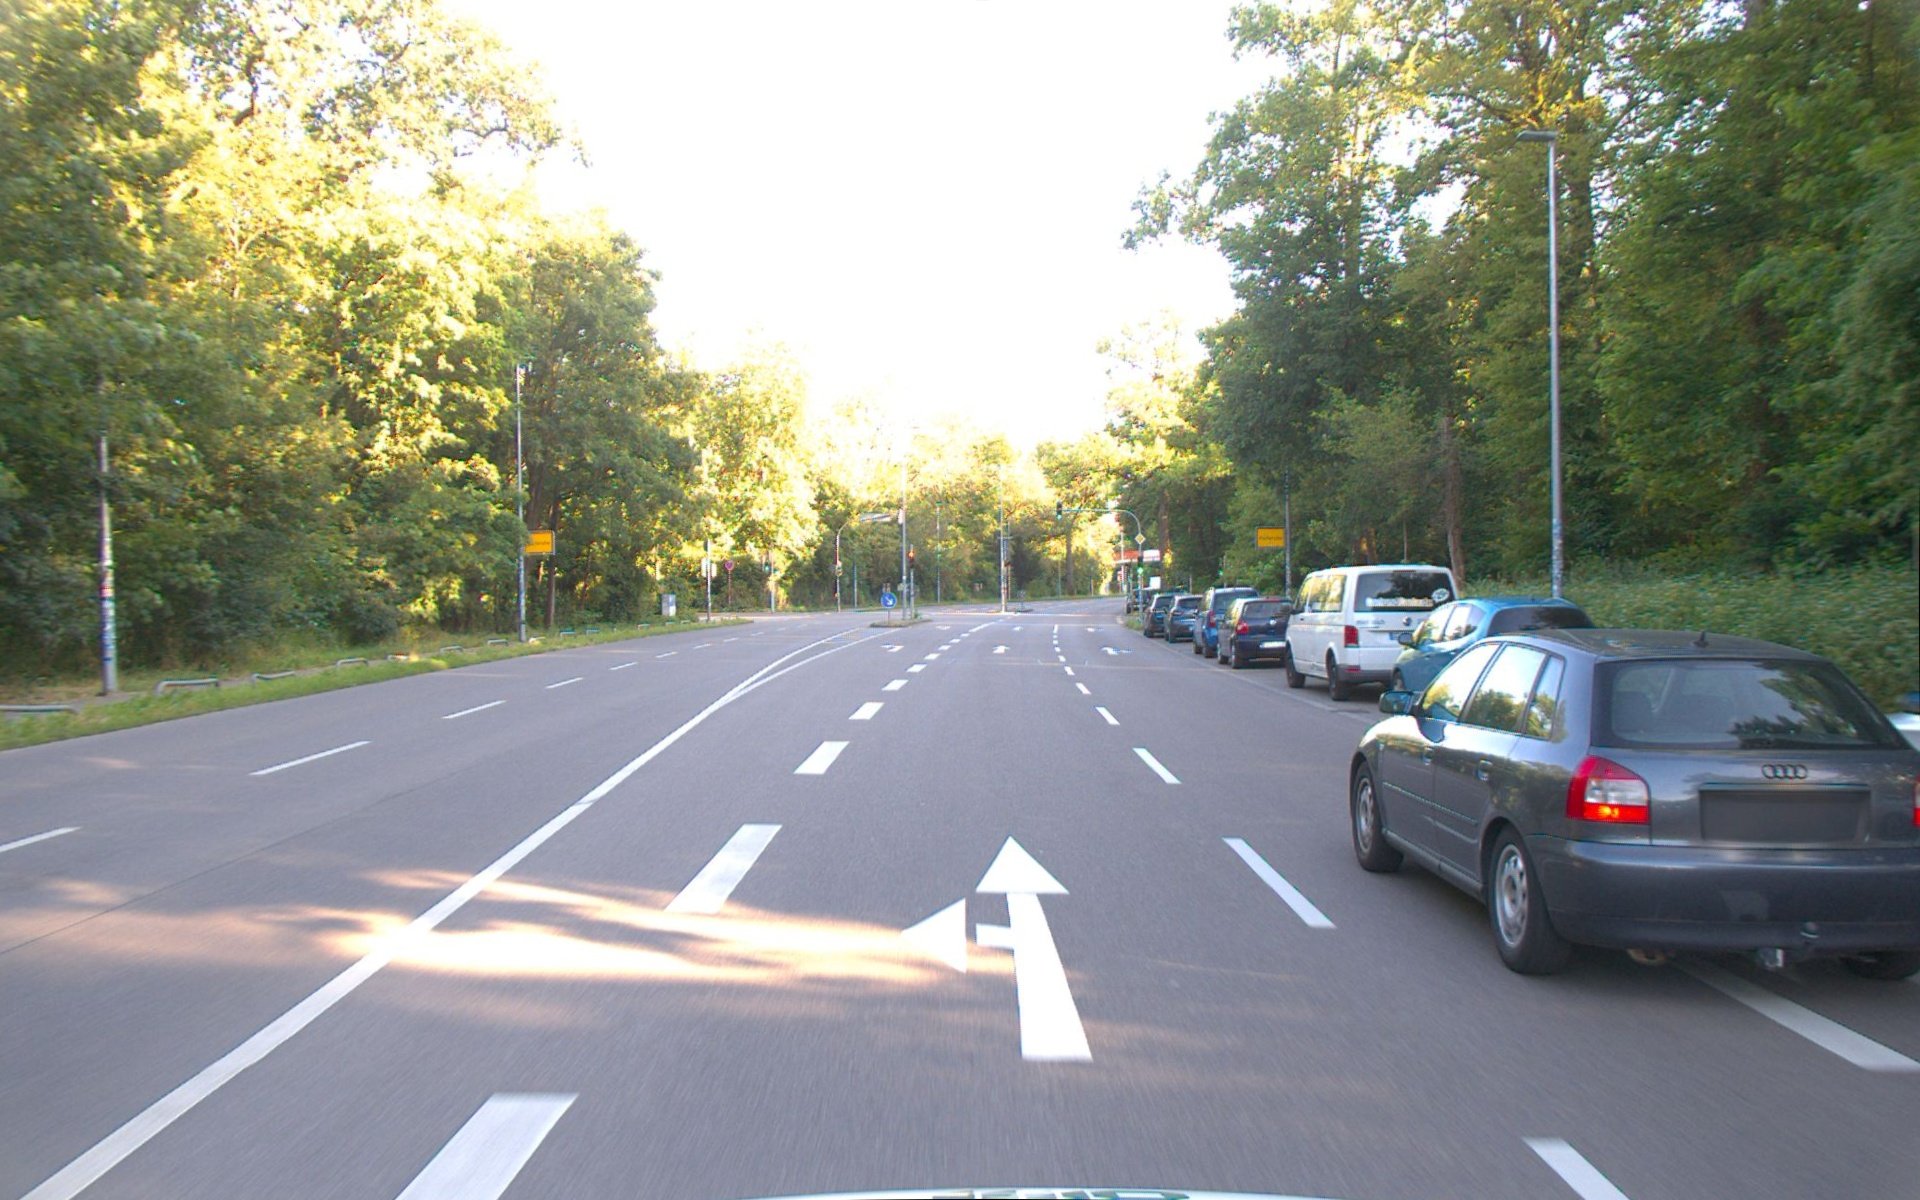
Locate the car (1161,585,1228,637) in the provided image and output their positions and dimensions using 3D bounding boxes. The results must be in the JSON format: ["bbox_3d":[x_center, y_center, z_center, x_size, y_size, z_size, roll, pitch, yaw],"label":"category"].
[{"bbox_3d":[7.329,0.313,52.002,1.692,1.516,4.091,-2,1,3],"label":"car"}]

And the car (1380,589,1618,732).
[{"bbox_3d":[6.447,0.657,20.191,1.614,1.549,3.866,0,0,-1],"label":"car"}]

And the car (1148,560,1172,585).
[{"bbox_3d":[19.333,-2.642,159.724,2.259,2.376,4.563,0,0,7],"label":"car"}]

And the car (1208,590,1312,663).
[{"bbox_3d":[6.448,0.538,35.876,1.616,1.466,4.114,0,0,2],"label":"car"}]

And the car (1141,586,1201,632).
[{"bbox_3d":[7.298,0.284,57.505,1.692,1.487,4.169,-2,1,3],"label":"car"}]

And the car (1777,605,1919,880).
[{"bbox_3d":[5.969,0.769,8.355,1.692,1.434,4.090,-1,1,1],"label":"car"}]

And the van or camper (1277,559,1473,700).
[{"bbox_3d":[6.413,0.391,26.195,1.794,2.005,5.342,0,1,0],"label":"van or camper"}]

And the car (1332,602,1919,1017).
[{"bbox_3d":[3.129,0.767,8.096,1.692,1.466,4.090,0,1,0],"label":"car"}]

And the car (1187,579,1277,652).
[{"bbox_3d":[6.734,0.346,41.360,1.692,1.734,4.091,0,0,2],"label":"car"}]

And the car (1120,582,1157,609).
[{"bbox_3d":[11.276,-0.288,104.729,1.952,1.646,4.001,-2,0,2],"label":"car"}]
